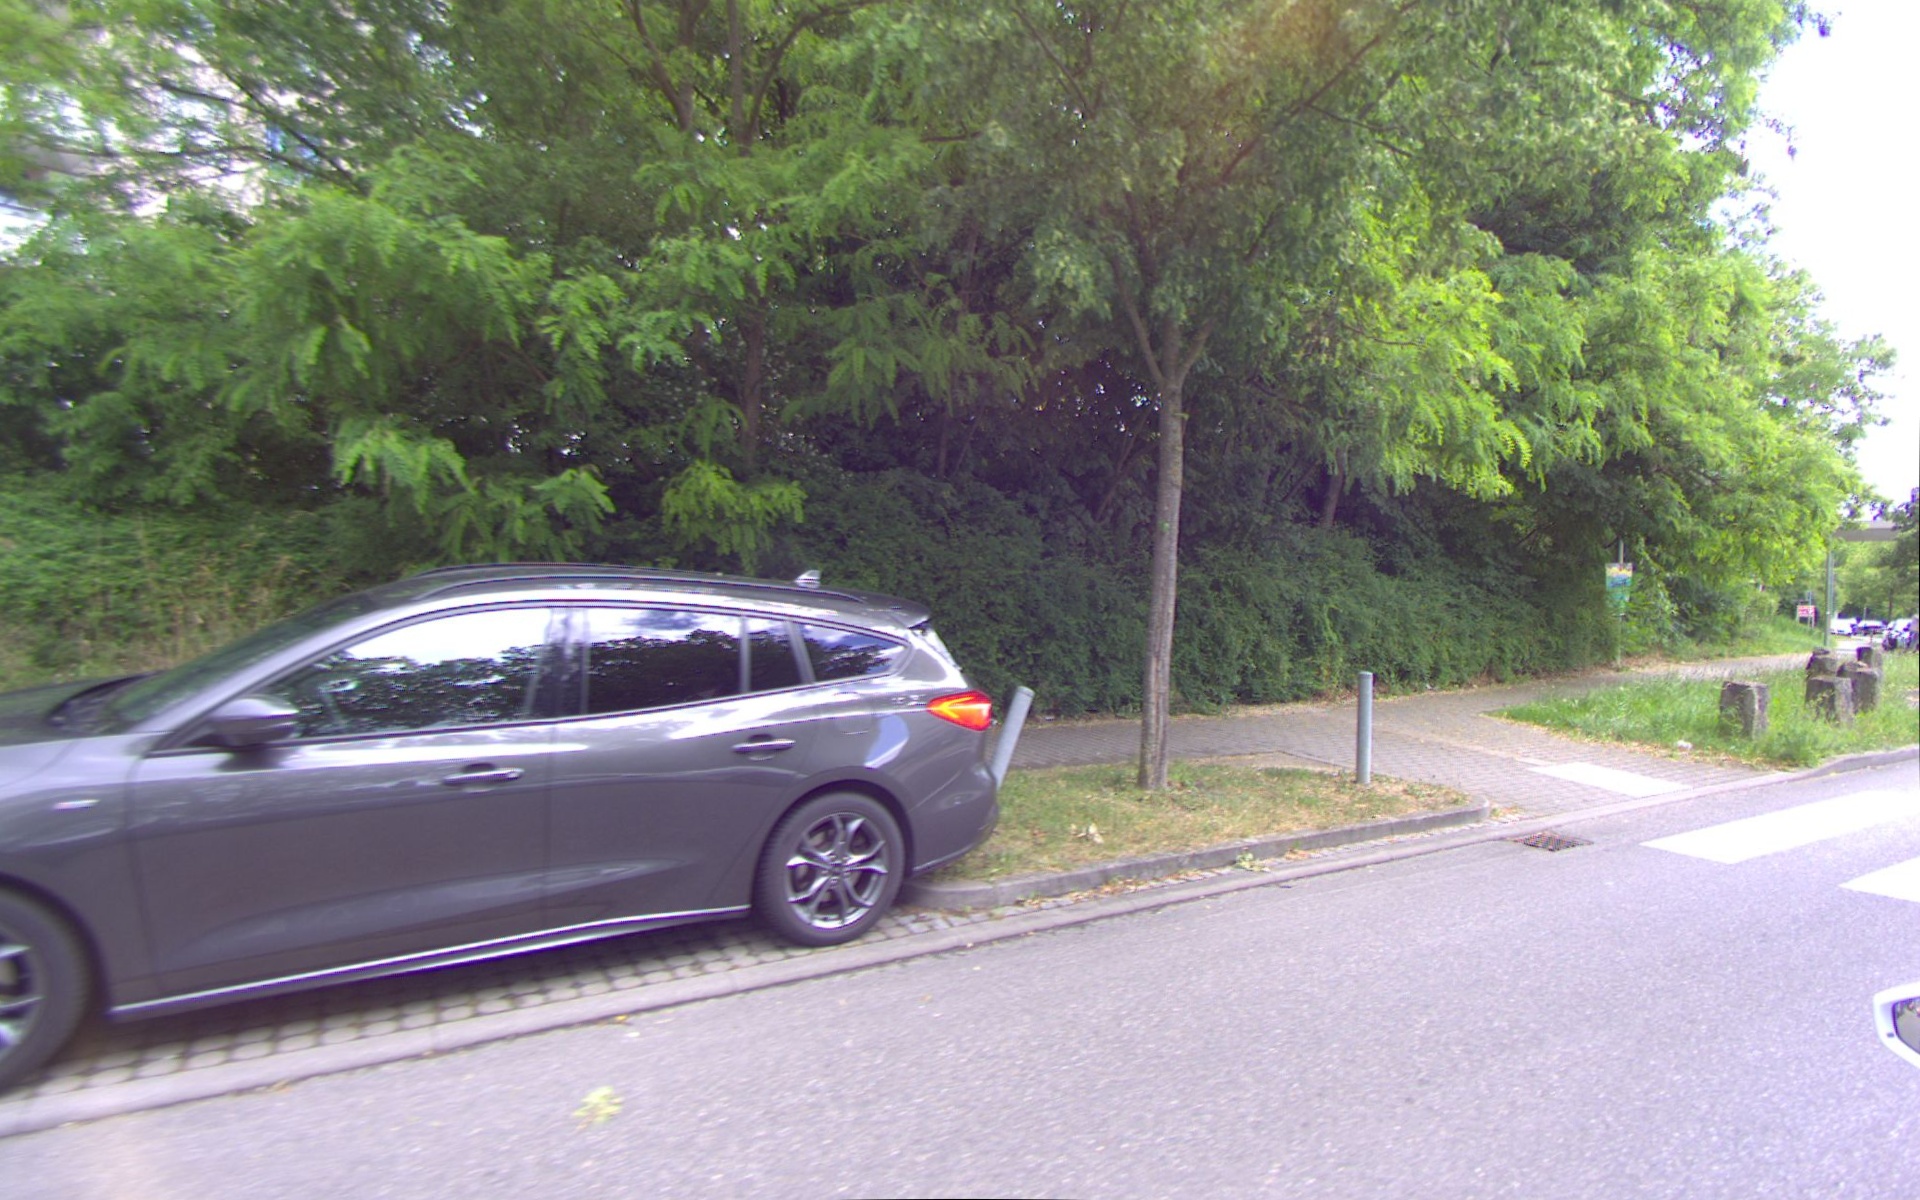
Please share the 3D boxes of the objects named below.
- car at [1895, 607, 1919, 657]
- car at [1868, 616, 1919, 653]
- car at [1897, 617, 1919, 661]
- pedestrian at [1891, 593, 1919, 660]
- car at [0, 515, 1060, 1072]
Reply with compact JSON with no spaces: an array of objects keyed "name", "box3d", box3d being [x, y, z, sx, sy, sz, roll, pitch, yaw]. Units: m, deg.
[{"name":"car","box3d":[31.713,1.037,32.548,1.764,1.488,3.981,2,2,39]},{"name":"car","box3d":[42.264,1.519,45.106,1.861,1.529,4.433,3,1,38]},{"name":"car","box3d":[35.172,1.423,36.259,1.864,1.480,3.526,3,2,43]},{"name":"pedestrian","box3d":[25.276,0.700,26.534,0.649,1.745,0.736,1,2,-18]},{"name":"car","box3d":[-1.887,0.492,4.096,4.405,1.485,1.681,1,4,-31]}]
